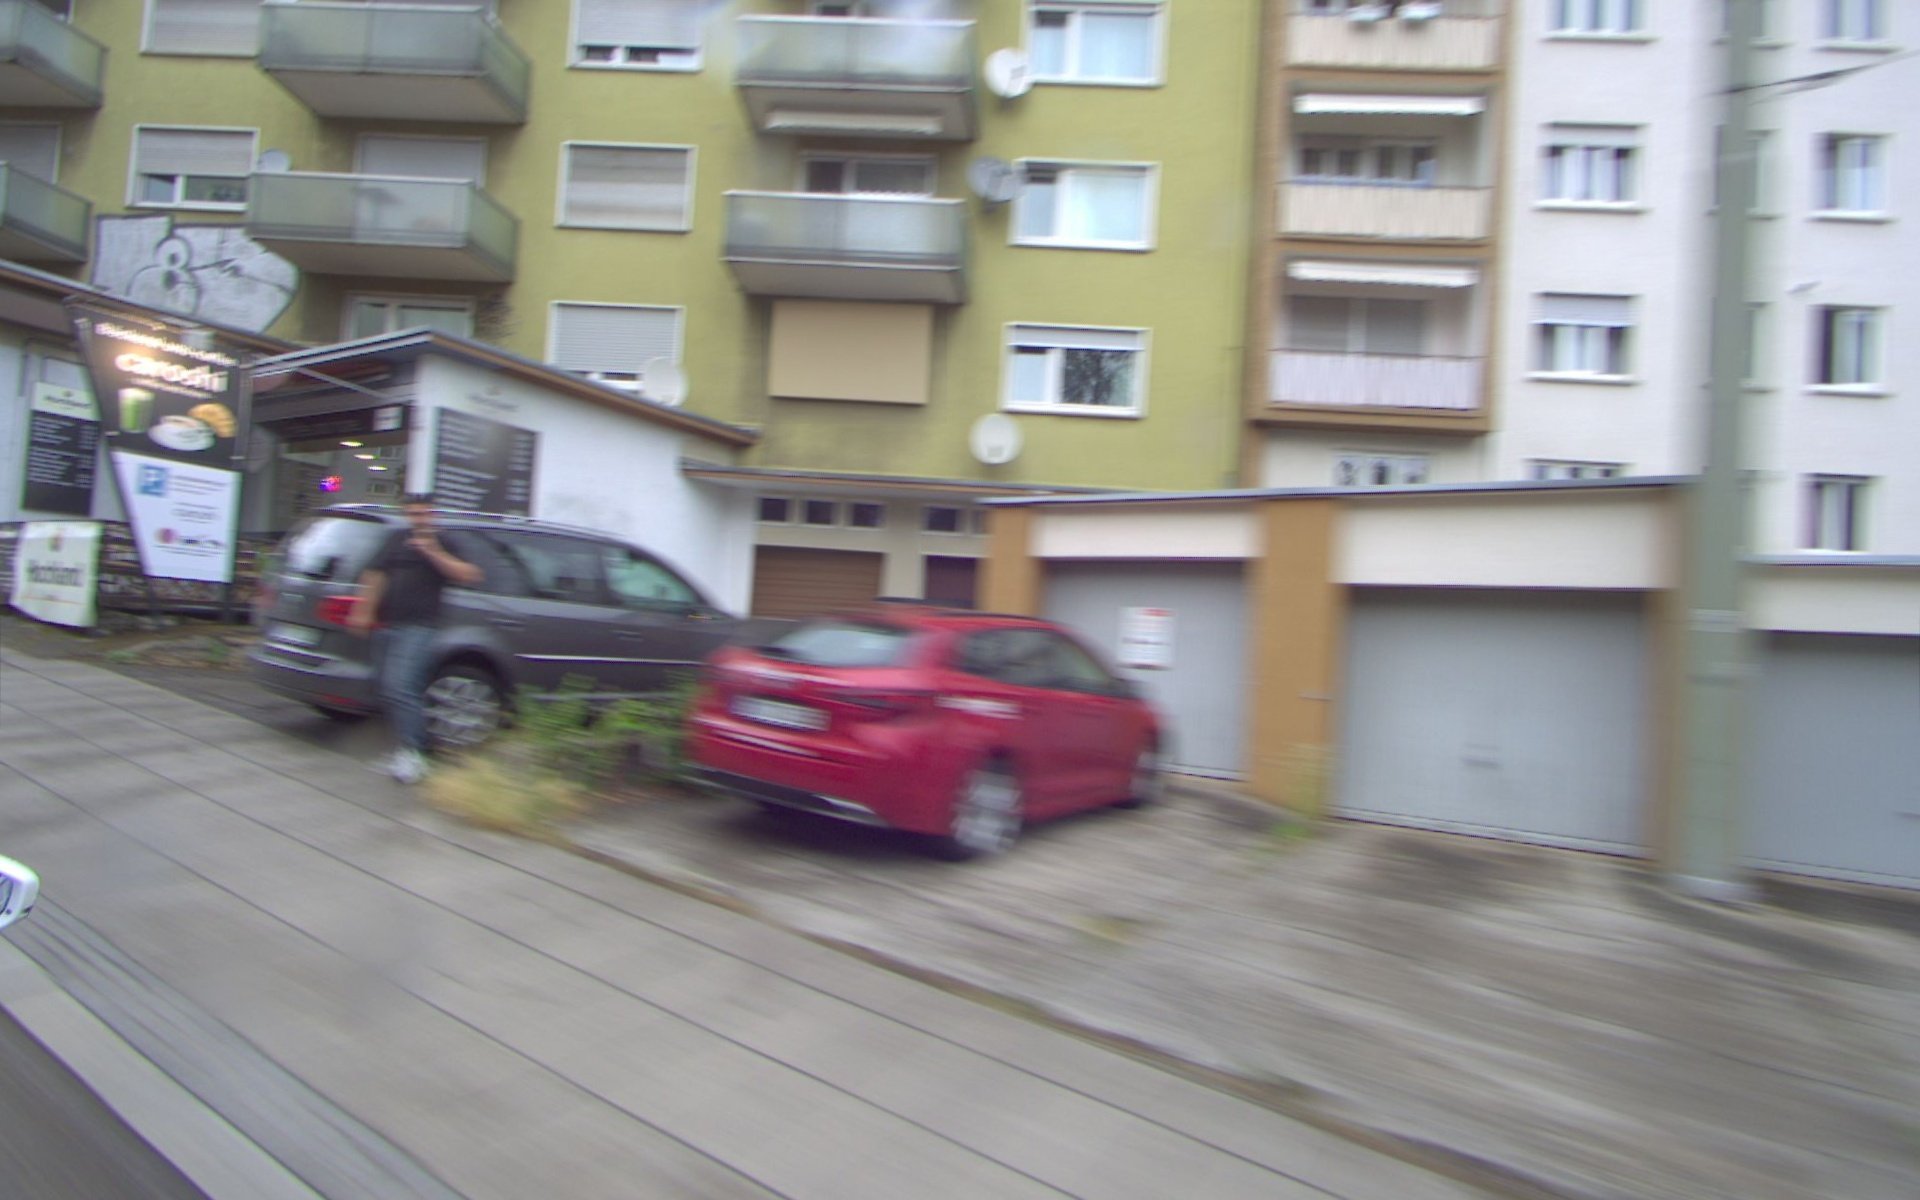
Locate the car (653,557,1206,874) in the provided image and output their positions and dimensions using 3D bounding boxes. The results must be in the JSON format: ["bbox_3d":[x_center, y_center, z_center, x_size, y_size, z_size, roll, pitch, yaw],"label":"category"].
[{"bbox_3d":[0.191,0.687,7.311,1.736,1.455,4.574,5,-1,31],"label":"car"}]

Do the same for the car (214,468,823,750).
[{"bbox_3d":[-3.322,0.138,8.465,1.752,1.695,4.331,7,0,33],"label":"car"}]

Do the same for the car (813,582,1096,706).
[{"bbox_3d":[0.123,0.653,14.107,1.752,1.418,4.516,2,-3,33],"label":"car"}]

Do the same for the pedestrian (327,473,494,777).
[{"bbox_3d":[-3.377,0.140,6.173,0.712,1.736,0.604,7,2,44],"label":"pedestrian"}]
